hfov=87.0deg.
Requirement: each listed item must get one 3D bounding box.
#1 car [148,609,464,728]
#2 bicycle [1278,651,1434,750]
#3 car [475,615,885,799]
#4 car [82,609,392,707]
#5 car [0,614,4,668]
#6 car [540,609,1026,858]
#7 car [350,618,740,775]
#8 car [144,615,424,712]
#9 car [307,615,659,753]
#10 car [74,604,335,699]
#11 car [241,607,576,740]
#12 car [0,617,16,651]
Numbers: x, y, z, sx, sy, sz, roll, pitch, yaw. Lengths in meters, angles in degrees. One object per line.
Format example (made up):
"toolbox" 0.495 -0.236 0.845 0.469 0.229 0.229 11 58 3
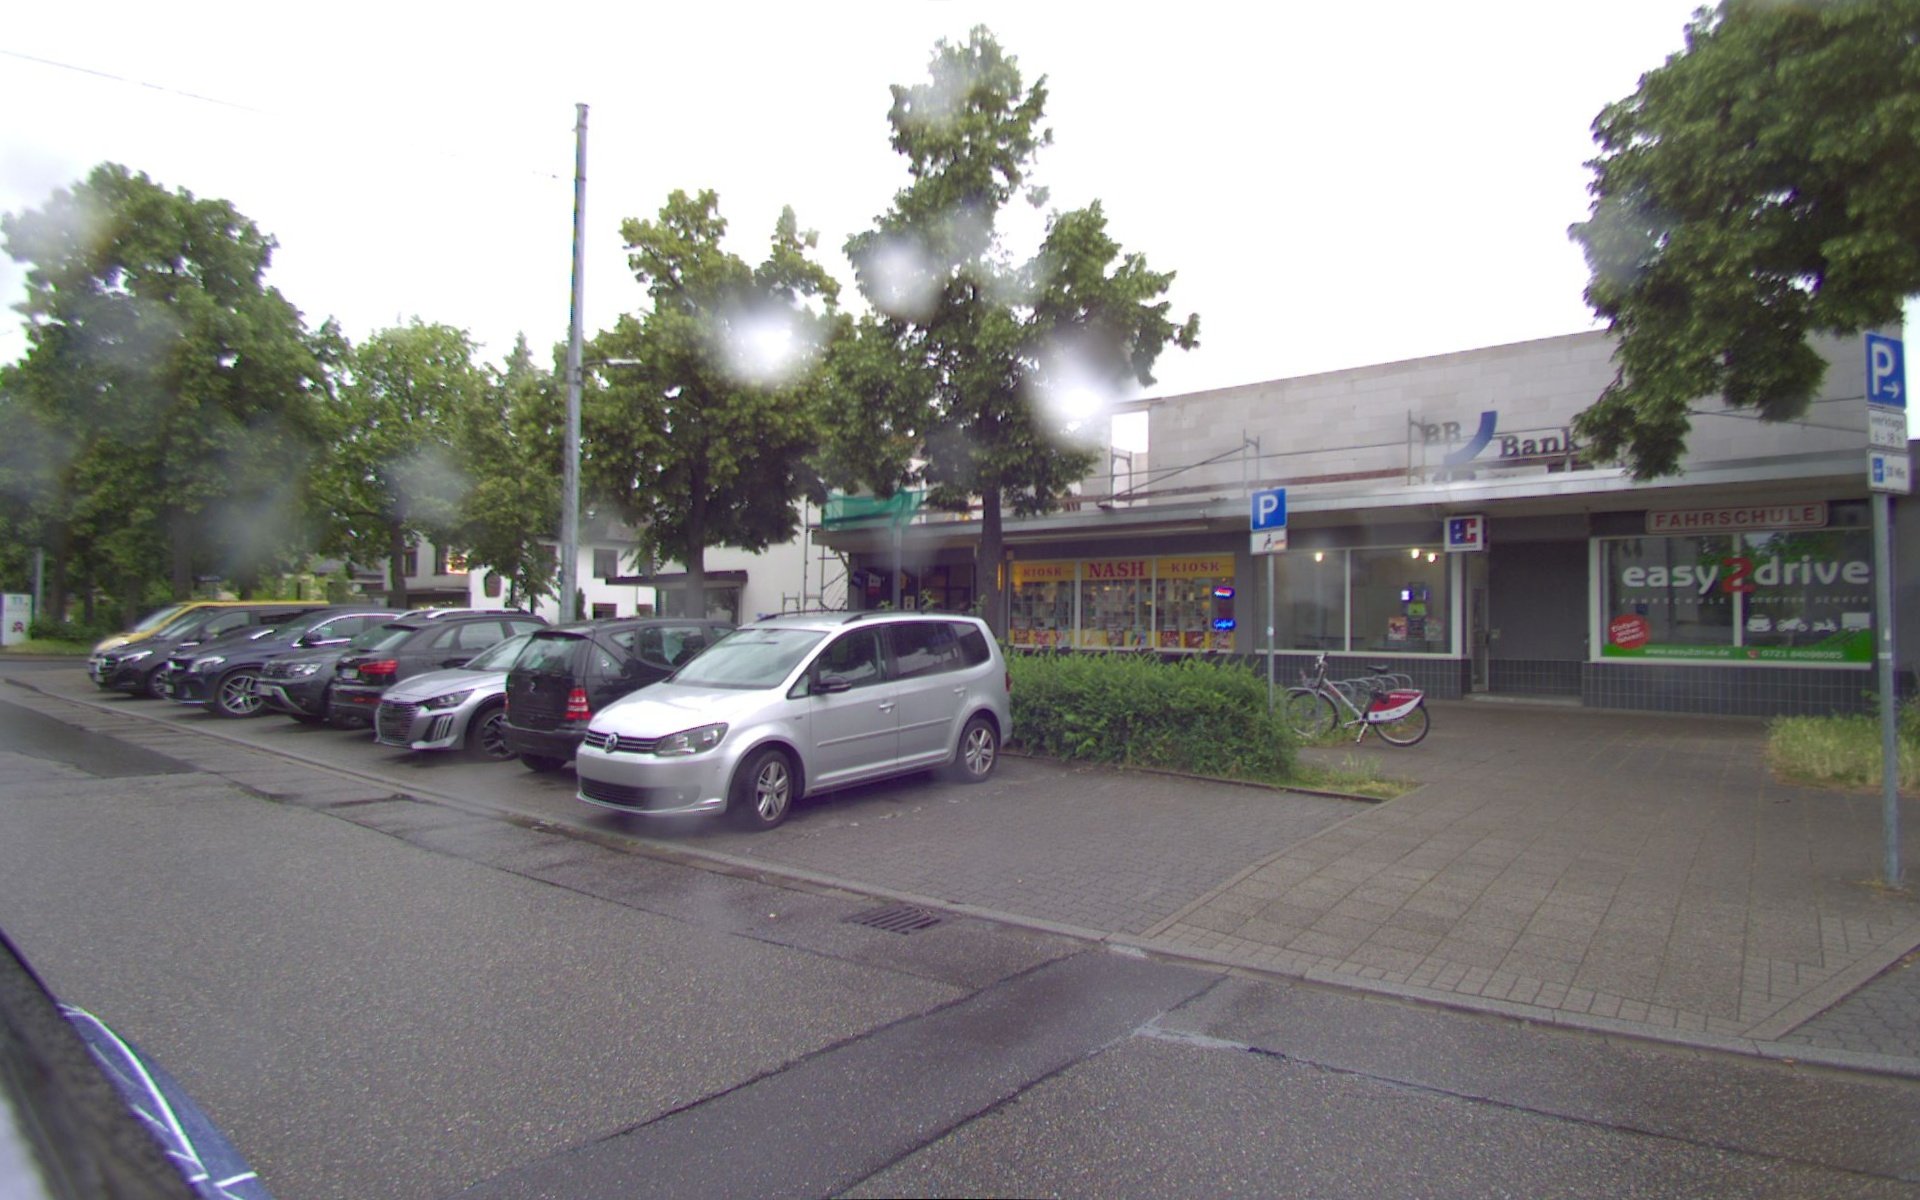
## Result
"car" -10.990 1.043 17.277 1.713 1.740 4.231 -1 -1 38
"bicycle" 4.813 1.200 12.343 1.739 1.115 0.316 -1 0 25
"car" -2.850 0.978 11.153 1.633 1.577 4.231 -1 0 38
"car" -15.146 1.109 21.522 1.713 1.813 5.114 -1 0 38
"car" -32.449 1.327 31.410 3.946 1.700 1.839 -1 0 2
"car" -1.300 0.916 9.010 1.713 1.647 4.231 -1 0 38
"car" -4.952 1.032 12.606 1.713 1.544 4.231 -1 0 38
"car" -13.023 1.136 19.735 1.713 1.639 4.231 -1 0 38
"car" -6.566 1.037 14.357 1.713 1.607 4.231 -1 0 38
"car" -17.425 1.092 23.569 1.713 1.973 4.600 -1 -1 38
"car" -8.336 0.991 15.642 1.713 1.740 4.231 -1 -1 38
"car" -49.674 1.711 50.156 1.997 1.698 3.950 -1 0 37
